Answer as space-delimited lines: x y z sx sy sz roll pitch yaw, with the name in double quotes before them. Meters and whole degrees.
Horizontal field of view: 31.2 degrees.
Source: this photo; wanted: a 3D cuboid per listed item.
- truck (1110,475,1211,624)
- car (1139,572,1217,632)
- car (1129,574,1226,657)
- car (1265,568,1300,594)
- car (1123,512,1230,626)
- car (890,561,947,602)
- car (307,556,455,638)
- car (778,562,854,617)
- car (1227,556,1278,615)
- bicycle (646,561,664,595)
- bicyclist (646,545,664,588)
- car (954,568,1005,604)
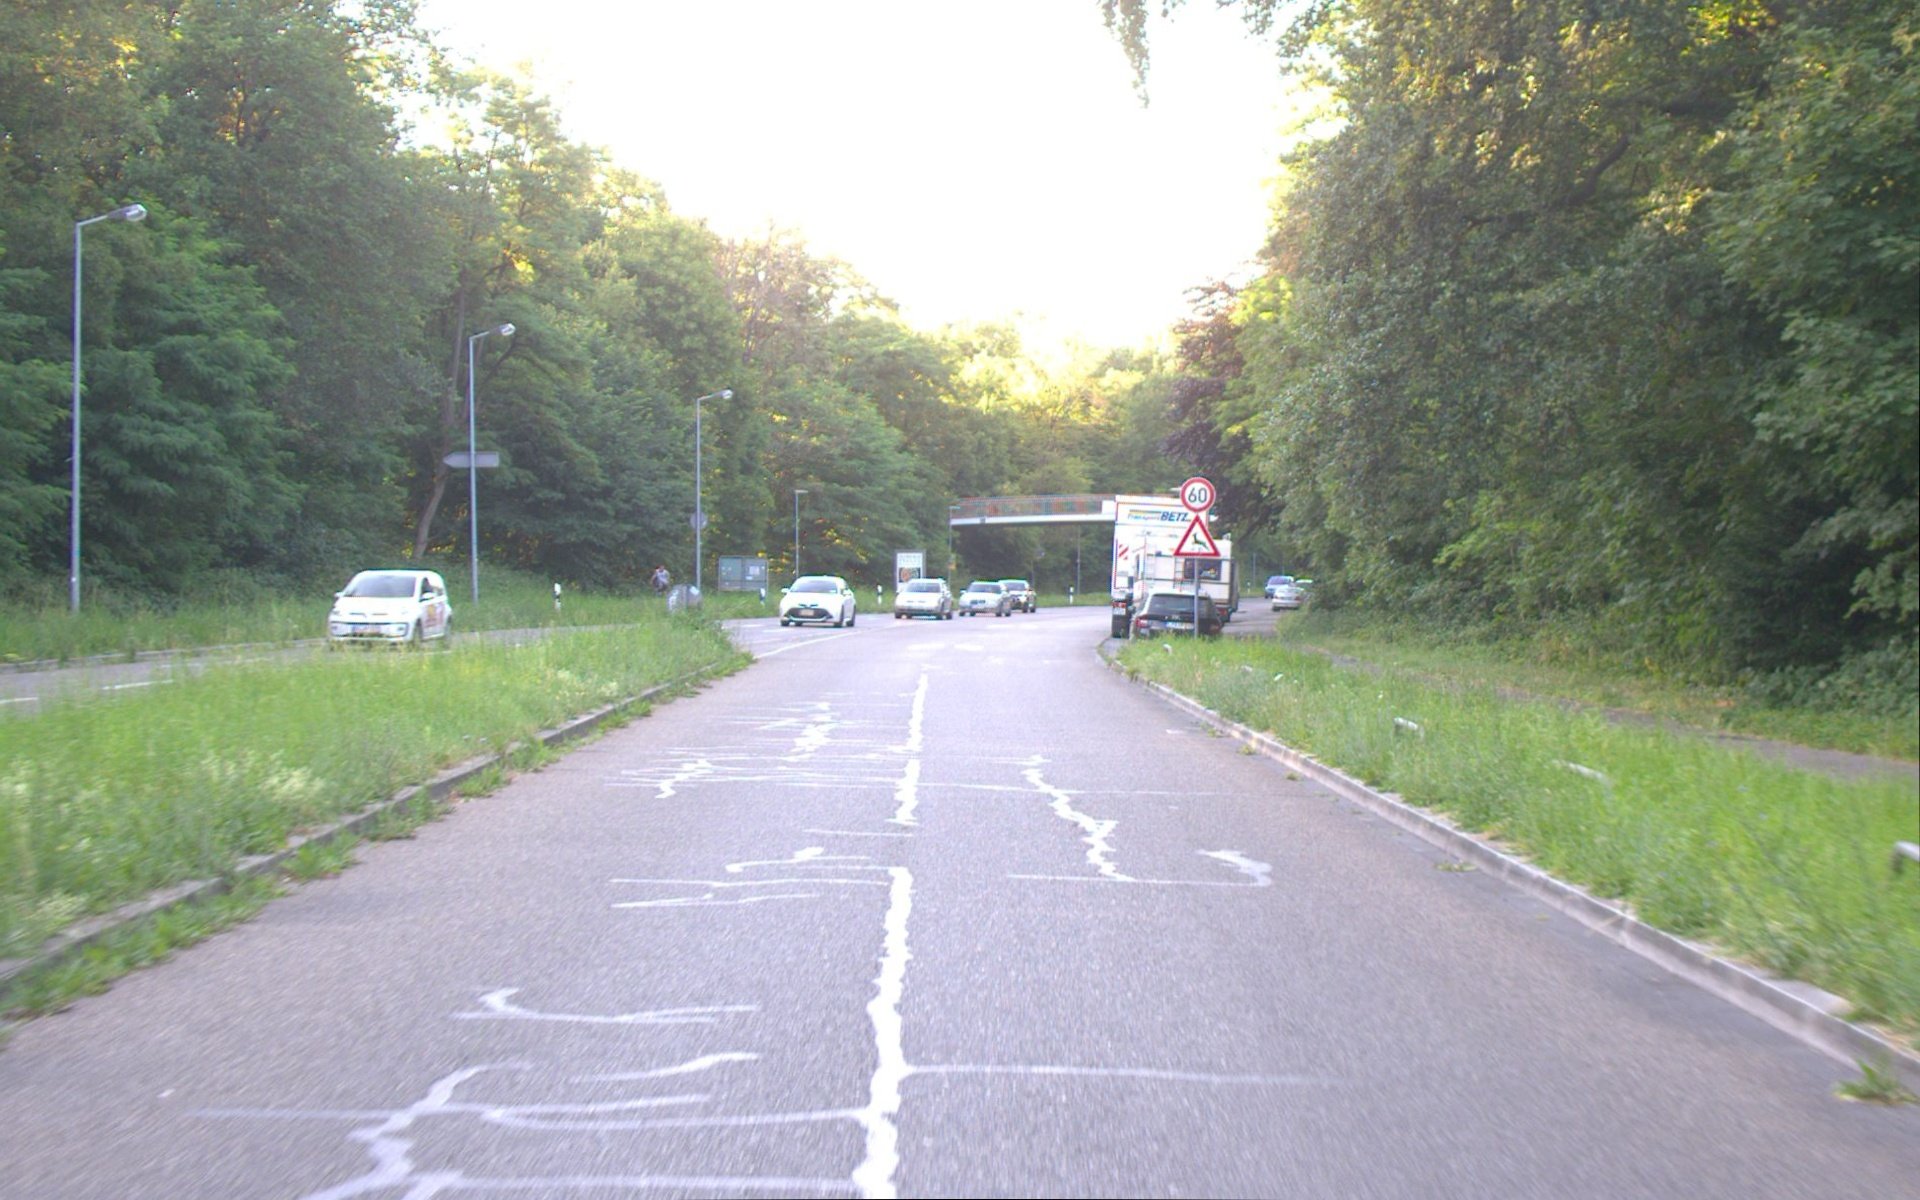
"truck" 5.802 -1.430 98.599 2.658 4.014 9.721 1 1 4
"car" 5.307 0.027 84.079 1.698 1.401 4.076 1 0 1
"car" 4.019 0.272 64.012 1.663 1.401 3.942 3 0 3
"car" 18.174 -1.076 193.402 1.892 1.442 4.109 0 1 6
"car" 5.641 -0.810 90.351 2.408 2.848 5.932 1 0 0
"car" -1.490 -0.691 125.286 1.716 1.441 4.173 1 1 4
"car" -10.661 -0.035 63.543 1.993 1.453 3.810 0 -1 2
"car" -4.147 -0.289 99.485 1.836 1.502 3.937 0 -1 3
"car" 12.597 -0.605 147.886 1.994 2.401 5.822 0 -1 7
"bicycle" -10.872 -0.792 122.569 0.630 1.213 2.262 0 1 -4
"bicyclist" -10.874 -1.195 122.531 0.620 1.506 0.847 0 2 -4
"car" 0.803 -0.577 139.497 1.720 1.392 4.374 1 1 4
